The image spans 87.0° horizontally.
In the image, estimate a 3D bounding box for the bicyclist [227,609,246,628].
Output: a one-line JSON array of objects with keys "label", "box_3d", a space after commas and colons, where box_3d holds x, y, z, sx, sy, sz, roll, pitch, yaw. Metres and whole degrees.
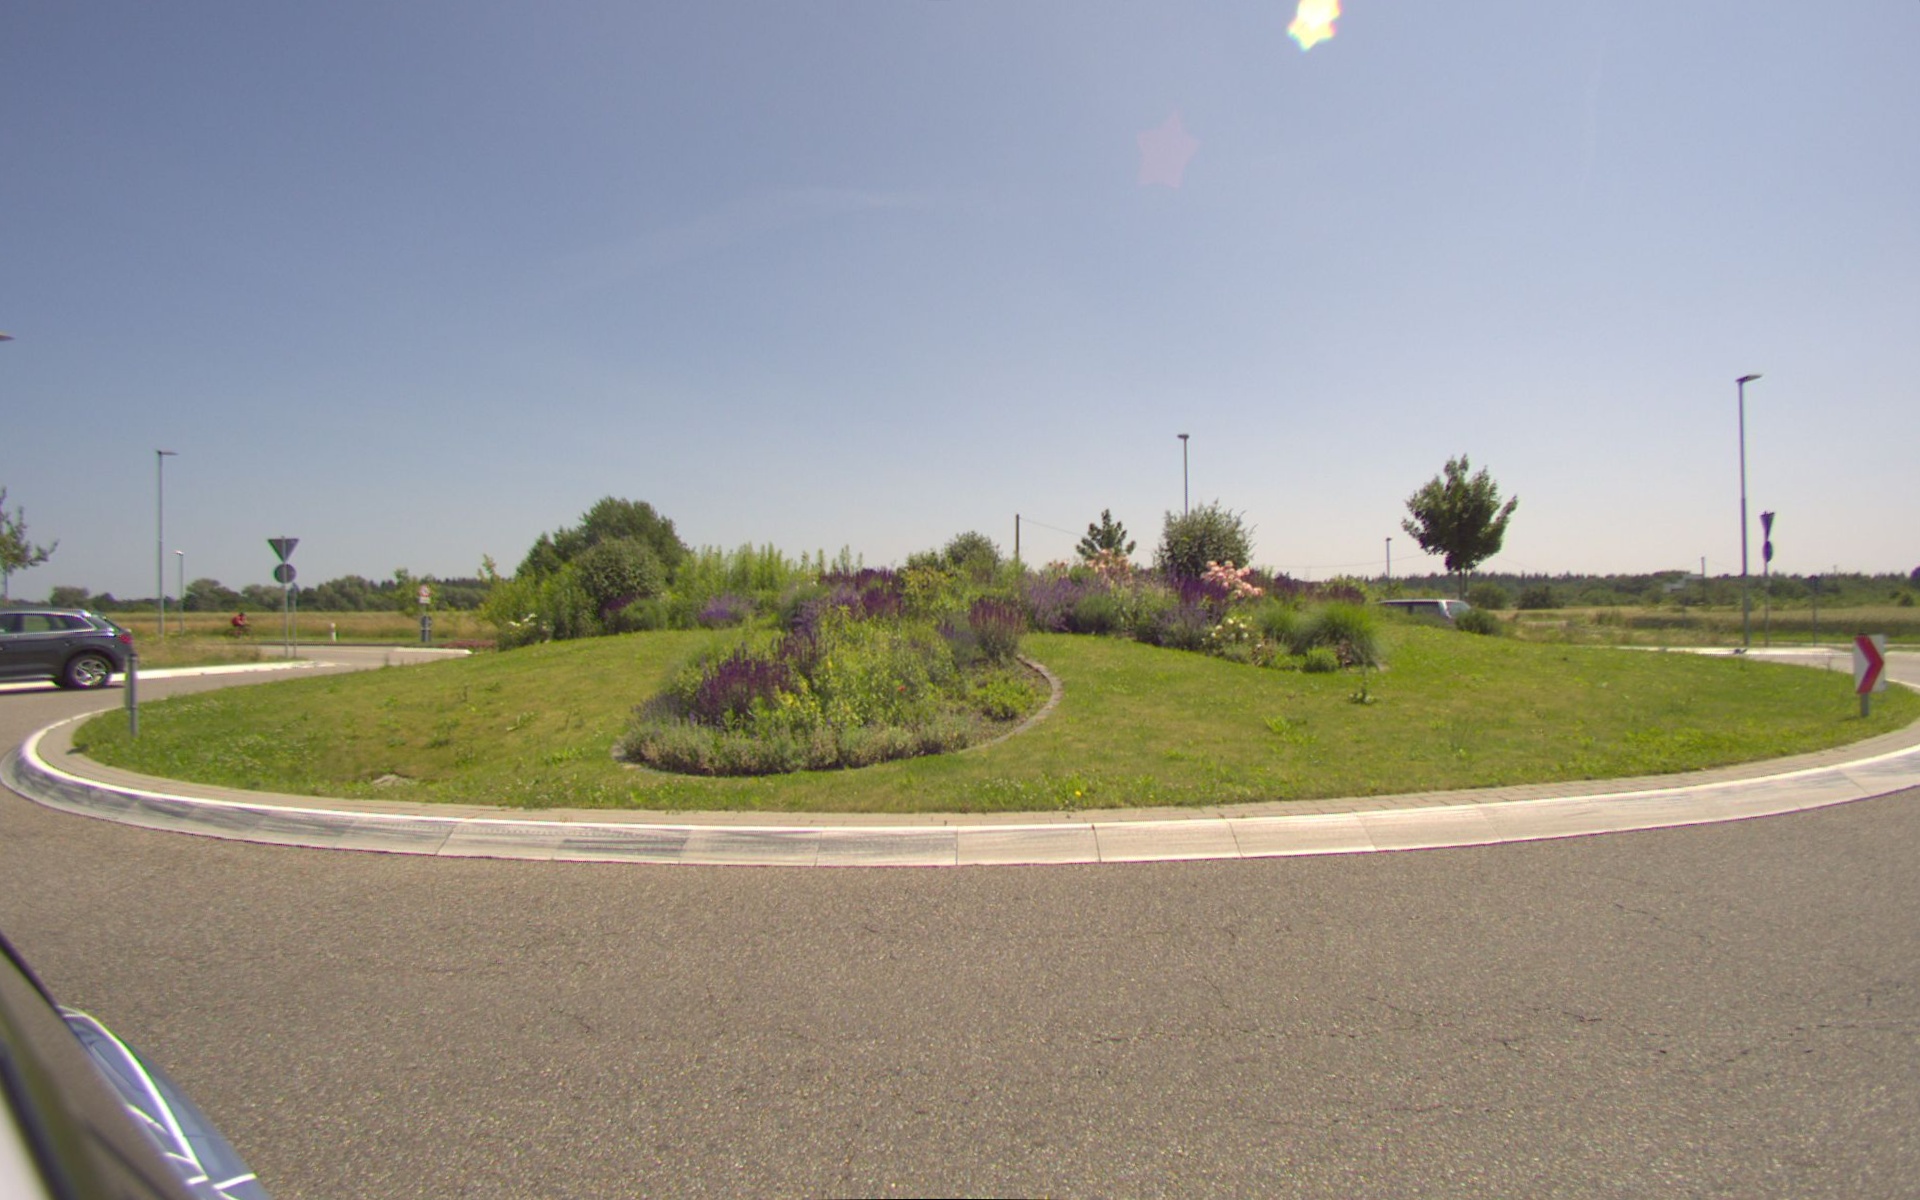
[{"label": "bicyclist", "box_3d": [-41.864, 1.055, 58.575, 0.714, 1.087, 0.579, -1, -1, -3]}]

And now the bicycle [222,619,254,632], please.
[{"label": "bicycle", "box_3d": [-41.788, 1.477, 58.577, 1.448, 0.735, 0.580, -1, -1, -3]}]

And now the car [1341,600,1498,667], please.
[{"label": "car", "box_3d": [12.498, 0.873, 27.825, 1.748, 1.686, 4.011, 0, -1, -15]}]

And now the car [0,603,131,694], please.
[{"label": "car", "box_3d": [-19.127, 0.973, 19.295, 1.951, 1.661, 4.828, -2, 0, 38]}]
